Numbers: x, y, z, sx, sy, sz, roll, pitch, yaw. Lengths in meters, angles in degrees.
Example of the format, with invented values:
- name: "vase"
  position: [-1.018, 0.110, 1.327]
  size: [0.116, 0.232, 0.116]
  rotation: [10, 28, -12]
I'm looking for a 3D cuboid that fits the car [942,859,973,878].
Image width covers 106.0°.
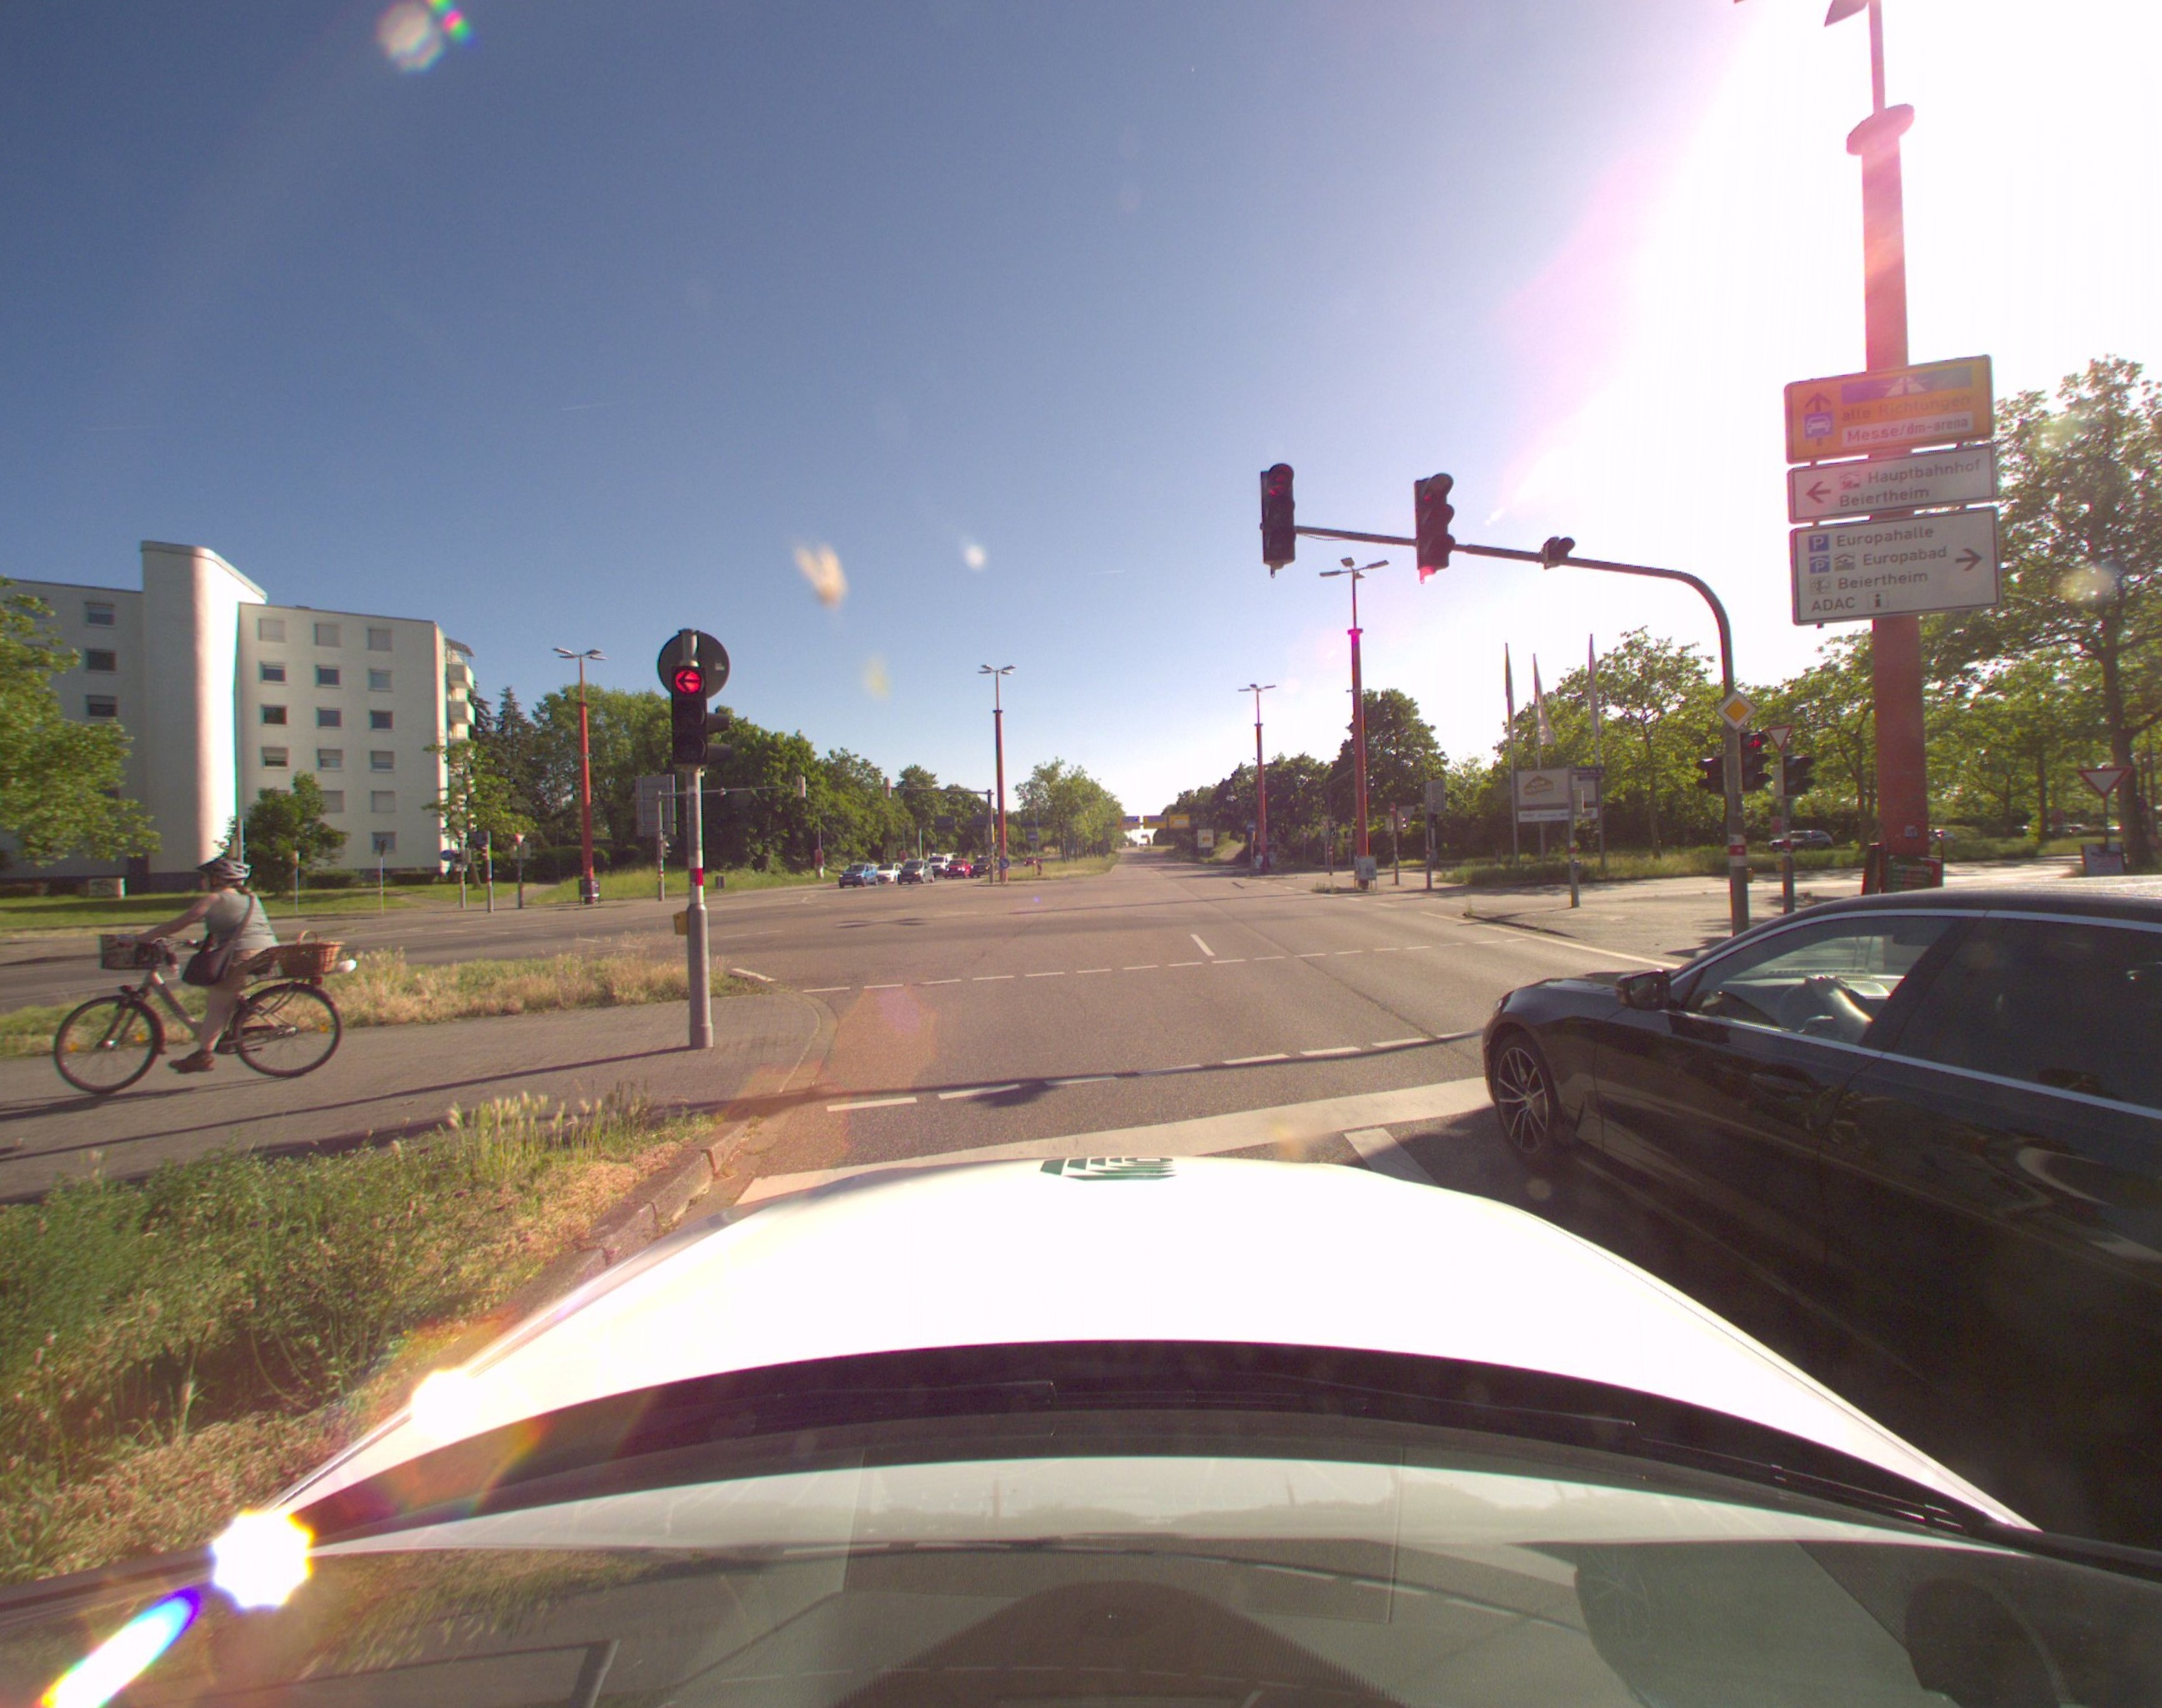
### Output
- name: "car"
  position: [-9.645, 1.090, 63.902]
  size: [1.733, 1.362, 3.613]
  rotation: [-2, 0, 1]

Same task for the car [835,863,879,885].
- name: "car"
  position: [-14.088, 1.213, 51.419]
  size: [1.733, 1.243, 3.613]
  rotation: [-2, 0, 1]

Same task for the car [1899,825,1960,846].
- name: "car"
  position: [64.895, -1.396, 62.314]
  size: [3.993, 1.467, 1.674]
  rotation: [-2, 0, -18]

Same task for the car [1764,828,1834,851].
- name: "car"
  position: [51.680, -1.058, 58.590]
  size: [4.326, 1.485, 1.775]
  rotation: [-2, 0, -17]

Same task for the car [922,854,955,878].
- name: "car"
  position: [-12.526, 1.052, 71.878]
  size: [1.886, 2.026, 5.224]
  rotation: [-1, 0, 1]

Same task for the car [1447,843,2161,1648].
- name: "car"
  position: [2.885, 0.690, 2.309]
  size: [1.862, 1.398, 4.446]
  rotation: [-2, 0, 3]

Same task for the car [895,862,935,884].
- name: "car"
  position: [-10.604, 1.190, 52.307]
  size: [1.733, 1.243, 3.613]
  rotation: [-2, 0, 1]

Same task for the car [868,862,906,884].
- name: "car"
  position: [-13.671, 1.320, 57.529]
  size: [1.733, 1.411, 3.613]
  rotation: [-2, 0, 1]

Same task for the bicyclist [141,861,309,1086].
- name: "bicyclist"
  position: [-6.527, 0.861, 6.255]
  size: [0.664, 1.584, 0.667]
  rotation: [-2, 0, -26]

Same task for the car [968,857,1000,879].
- name: "car"
  position: [-7.295, 1.041, 61.465]
  size: [1.812, 1.508, 4.002]
  rotation: [-2, 0, 2]

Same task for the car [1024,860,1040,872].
- name: "car"
  position: [-6.838, 1.649, 113.699]
  size: [1.812, 1.629, 4.002]
  rotation: [-2, 0, 2]

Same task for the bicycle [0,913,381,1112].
- name: "bicycle"
  position: [-6.681, 1.121, 6.172]
  size: [1.952, 1.195, 0.686]
  rotation: [-2, 0, -26]

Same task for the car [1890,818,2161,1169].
- name: "car"
  position: [5.669, 0.603, 2.862]
  size: [1.732, 1.578, 4.032]
  rotation: [-2, 0, 3]
